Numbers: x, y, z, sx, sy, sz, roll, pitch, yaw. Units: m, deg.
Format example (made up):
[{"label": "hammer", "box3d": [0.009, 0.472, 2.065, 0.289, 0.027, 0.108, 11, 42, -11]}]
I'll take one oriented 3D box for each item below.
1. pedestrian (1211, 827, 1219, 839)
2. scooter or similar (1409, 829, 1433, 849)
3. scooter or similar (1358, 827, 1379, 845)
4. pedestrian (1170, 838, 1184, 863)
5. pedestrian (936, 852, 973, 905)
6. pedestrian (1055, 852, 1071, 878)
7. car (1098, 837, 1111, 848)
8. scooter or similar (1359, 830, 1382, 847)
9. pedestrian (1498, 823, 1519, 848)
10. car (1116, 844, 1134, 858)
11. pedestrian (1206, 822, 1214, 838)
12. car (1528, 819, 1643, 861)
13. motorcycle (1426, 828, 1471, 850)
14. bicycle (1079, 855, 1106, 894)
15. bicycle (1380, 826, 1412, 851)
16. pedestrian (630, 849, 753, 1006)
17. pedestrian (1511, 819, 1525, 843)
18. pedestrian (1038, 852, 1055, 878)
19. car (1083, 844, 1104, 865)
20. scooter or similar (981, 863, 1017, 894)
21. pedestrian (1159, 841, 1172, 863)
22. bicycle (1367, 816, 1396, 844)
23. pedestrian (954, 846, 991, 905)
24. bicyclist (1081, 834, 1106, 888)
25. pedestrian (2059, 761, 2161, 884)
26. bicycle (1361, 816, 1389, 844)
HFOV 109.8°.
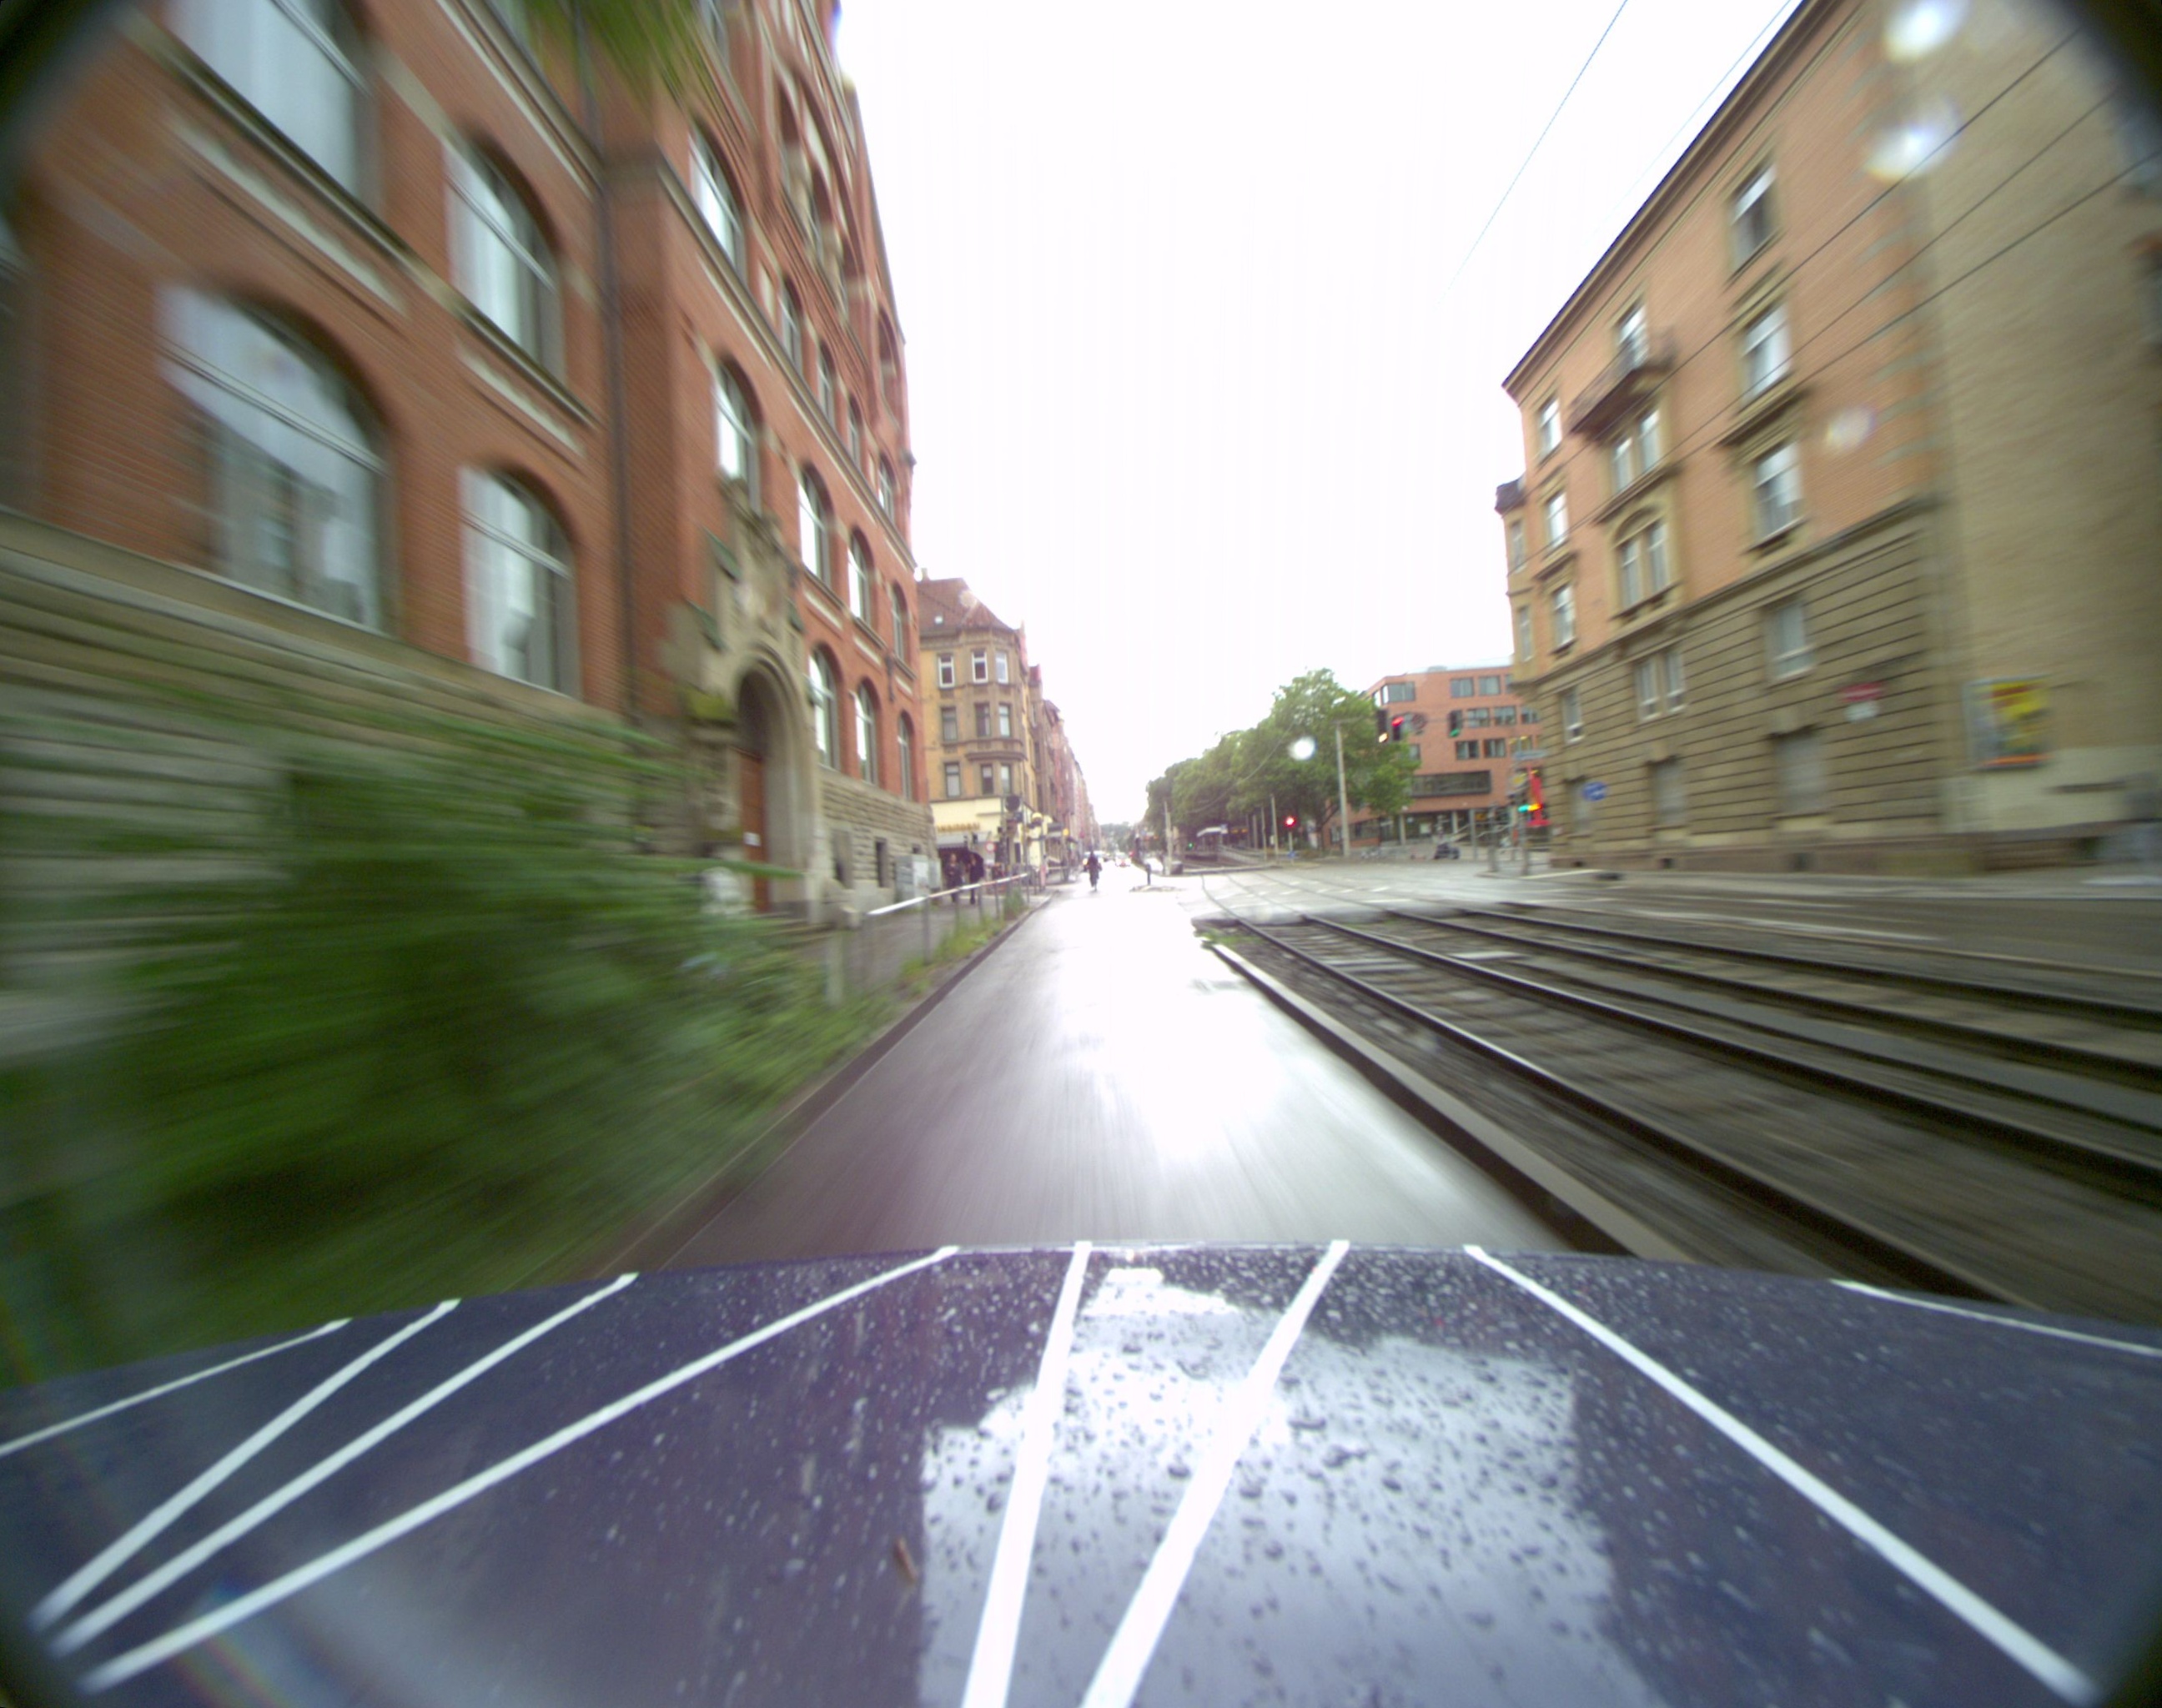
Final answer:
[{"label": "pedestrian", "box3d": [17.694, -2.746, 100.225, 0.781, 1.475, 0.884, -3, 2, -2]}, {"label": "scooter or similar", "box3d": [24.012, -1.053, 53.670, 1.507, 1.363, 0.452, -4, 2, -14]}, {"label": "scooter or similar", "box3d": [23.014, -1.459, 60.813, 1.507, 1.363, 0.452, -4, 2, -14]}, {"label": "pedestrian", "box3d": [7.156, -0.265, 56.672, 0.827, 1.788, 1.001, -3, 2, 0]}, {"label": "pedestrian", "box3d": [-4.099, 0.779, 24.700, 0.960, 1.616, 1.073, -2, 1, 2]}, {"label": "pedestrian", "box3d": [-1.211, 0.755, 52.016, 1.019, 1.711, 0.930, 0, 2, 4]}, {"label": "car", "box3d": [4.169, -2.003, 135.704, 1.884, 1.838, 3.998, -3, 1, -1]}, {"label": "scooter or similar", "box3d": [22.938, -1.234, 60.159, 1.720, 1.187, 0.478, -4, 2, -18]}, {"label": "pedestrian", "box3d": [31.234, -1.356, 55.508, 0.898, 1.720, 1.009, -3, 2, 2]}, {"label": "car", "box3d": [5.025, -0.406, 87.786, 1.883, 1.439, 3.999, -3, 1, 2]}, {"label": "pedestrian", "box3d": [17.812, -3.314, 105.088, 0.837, 2.051, 0.884, -3, 2, -2]}, {"label": "car", "box3d": [21.516, -0.595, 32.469, 3.796, 1.529, 1.777, -3, 2, -5]}, {"label": "motorcycle", "box3d": [25.060, -1.057, 51.836, 2.658, 1.363, 0.865, -3, 2, -4]}, {"label": "bicycle", "box3d": [0.549, 0.853, 33.270, 0.936, 1.545, 3.135, -3, 0, 4]}, {"label": "bicycle", "box3d": [23.067, -1.136, 55.654, 2.096, 1.689, 0.556, -5, 4, -4]}, {"label": "pedestrian", "box3d": [-4.440, 0.809, 8.728, 0.825, 1.669, 0.860, -3, 2, 5]}, {"label": "pedestrian", "box3d": [33.205, -1.766, 57.712, 0.791, 1.736, 1.070, -2, 6, 36]}, {"label": "pedestrian", "box3d": [-2.345, 0.740, 51.849, 0.996, 1.695, 0.781, -4, 2, 2]}, {"label": "car", "box3d": [1.354, 0.014, 79.309, 1.824, 1.894, 5.991, -4, 1, 4]}, {"label": "scooter or similar", "box3d": [-3.340, 1.004, 30.987, 1.248, 1.243, 0.639, -1, 2, 24]}, {"label": "pedestrian", "box3d": [6.327, -0.142, 56.865, 0.837, 1.595, 1.001, -3, 2, 0]}, {"label": "bicycle", "box3d": [22.822, -1.812, 57.742, 1.896, 2.002, 0.518, -4, 2, -4]}, {"label": "pedestrian", "box3d": [-3.572, 0.675, 25.060, 0.960, 1.877, 1.073, -2, 1, 2]}, {"label": "bicyclist", "box3d": [0.547, 0.267, 32.952, 0.920, 2.250, 1.287, -3, 2, 4]}, {"label": "pedestrian", "box3d": [17.440, -0.535, 12.505, 1.175, 1.918, 1.177, -4, 1, -5]}, {"label": "bicycle", "box3d": [22.729, -1.828, 58.736, 1.896, 2.002, 0.518, -4, 2, -4]}]
